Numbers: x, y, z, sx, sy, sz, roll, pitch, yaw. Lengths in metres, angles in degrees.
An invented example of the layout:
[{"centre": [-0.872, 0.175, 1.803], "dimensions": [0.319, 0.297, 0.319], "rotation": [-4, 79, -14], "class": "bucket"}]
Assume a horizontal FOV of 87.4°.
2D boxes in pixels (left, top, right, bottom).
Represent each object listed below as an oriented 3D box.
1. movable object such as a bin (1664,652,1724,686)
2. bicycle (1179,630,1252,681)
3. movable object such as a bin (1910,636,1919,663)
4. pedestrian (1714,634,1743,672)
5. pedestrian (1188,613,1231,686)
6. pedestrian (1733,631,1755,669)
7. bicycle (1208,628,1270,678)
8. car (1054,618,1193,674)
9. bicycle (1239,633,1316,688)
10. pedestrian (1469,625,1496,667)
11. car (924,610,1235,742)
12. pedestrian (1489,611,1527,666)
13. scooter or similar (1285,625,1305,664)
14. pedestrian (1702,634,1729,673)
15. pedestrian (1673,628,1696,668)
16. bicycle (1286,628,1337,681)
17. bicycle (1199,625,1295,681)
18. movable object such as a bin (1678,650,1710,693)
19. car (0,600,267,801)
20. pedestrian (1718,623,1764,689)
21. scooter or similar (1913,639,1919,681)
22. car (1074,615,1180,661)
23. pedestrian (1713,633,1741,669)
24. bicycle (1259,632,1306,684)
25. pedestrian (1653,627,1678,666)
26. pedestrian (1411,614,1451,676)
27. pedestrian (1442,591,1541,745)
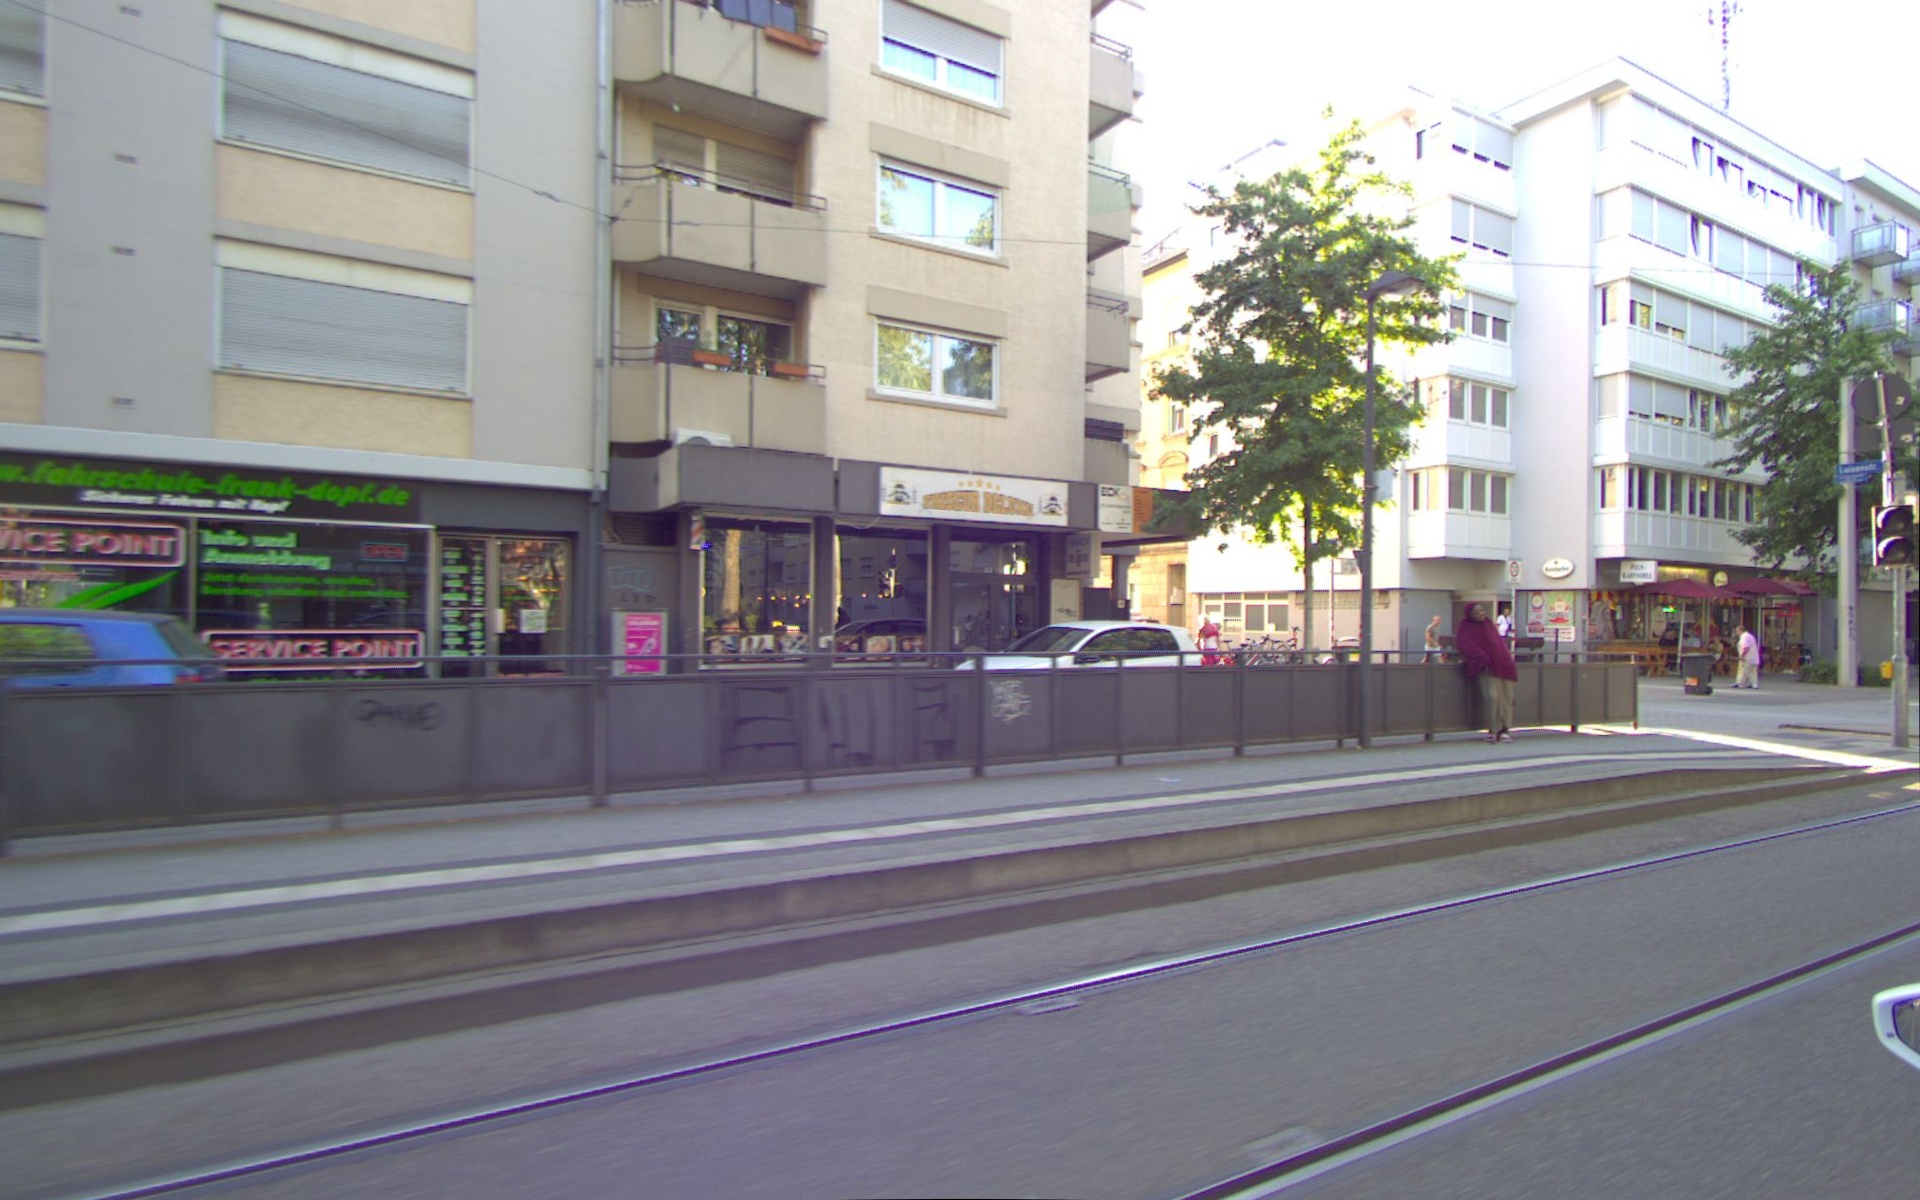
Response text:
[{"centre": [18.601, 1.747, 25.459], "dimensions": [1.178, 0.767, 0.663], "rotation": [1, 0, 39], "class": "movable object such as a bin"}, {"centre": [6.197, 1.332, 24.411], "dimensions": [0.567, 1.172, 1.771], "rotation": [1, -1, -36], "class": "bicycle"}, {"centre": [38.549, 1.975, 40.141], "dimensions": [0.614, 1.069, 0.675], "rotation": [1, -1, -28], "class": "movable object such as a bin"}, {"centre": [24.810, 1.707, 32.433], "dimensions": [0.591, 1.214, 0.691], "rotation": [0, -1, 25], "class": "pedestrian"}, {"centre": [5.529, 1.094, 22.256], "dimensions": [0.712, 1.577, 0.726], "rotation": [1, -1, -7], "class": "pedestrian"}, {"centre": [25.589, 1.613, 32.798], "dimensions": [0.504, 1.214, 0.562], "rotation": [0, -1, 31], "class": "pedestrian"}, {"centre": [6.836, 1.283, 24.721], "dimensions": [0.563, 1.172, 1.782], "rotation": [1, -1, -19], "class": "bicycle"}, {"centre": [4.782, 1.308, 29.921], "dimensions": [1.872, 1.524, 4.262], "rotation": [1, -1, -29], "class": "car"}, {"centre": [7.207, 1.357, 22.888], "dimensions": [0.564, 1.172, 1.853], "rotation": [1, -1, -25], "class": "bicycle"}, {"centre": [16.017, 1.392, 30.804], "dimensions": [0.735, 1.258, 0.768], "rotation": [0, -1, 26], "class": "pedestrian"}, {"centre": [1.793, 1.026, 14.684], "dimensions": [4.309, 1.673, 1.868], "rotation": [1, -2, -31], "class": "car"}, {"centre": [16.993, 1.193, 31.151], "dimensions": [0.756, 1.681, 0.747], "rotation": [1, -1, -15], "class": "pedestrian"}, {"centre": [11.202, 1.486, 33.590], "dimensions": [0.489, 1.276, 1.306], "rotation": [0, -1, 24], "class": "scooter or similar"}, {"centre": [23.736, 1.676, 31.560], "dimensions": [0.557, 1.214, 0.509], "rotation": [1, -1, -28], "class": "pedestrian"}, {"centre": [22.240, 1.454, 30.825], "dimensions": [0.506, 1.214, 0.560], "rotation": [-1, -1, 44], "class": "pedestrian"}, {"centre": [8.094, 1.234, 23.198], "dimensions": [0.561, 1.172, 1.790], "rotation": [1, -1, 1], "class": "bicycle"}, {"centre": [6.420, 1.164, 22.517], "dimensions": [2.006, 1.172, 0.570], "rotation": [0, -1, 38], "class": "bicycle"}, {"centre": [16.756, 1.618, 22.930], "dimensions": [0.533, 0.944, 0.646], "rotation": [-1, -1, 43], "class": "movable object such as a bin"}, {"centre": [-8.511, 0.799, 8.352], "dimensions": [4.337, 1.564, 1.947], "rotation": [1, -2, -30], "class": "car"}, {"centre": [19.320, 1.369, 24.859], "dimensions": [0.761, 1.577, 0.720], "rotation": [1, -1, -36], "class": "pedestrian"}, {"centre": [28.044, 1.736, 28.696], "dimensions": [0.492, 1.192, 1.074], "rotation": [2, 0, -31], "class": "scooter or similar"}, {"centre": [6.191, 1.383, 37.693], "dimensions": [1.868, 1.602, 3.969], "rotation": [1, -1, -30], "class": "car"}, {"centre": [26.245, 1.729, 34.372], "dimensions": [0.617, 1.214, 0.559], "rotation": [1, -1, -31], "class": "pedestrian"}, {"centre": [7.656, 1.364, 23.898], "dimensions": [0.561, 1.172, 1.790], "rotation": [1, -1, 1], "class": "bicycle"}, {"centre": [22.193, 1.468, 31.614], "dimensions": [0.553, 1.214, 0.513], "rotation": [0, -1, 25], "class": "pedestrian"}, {"centre": [13.205, 1.253, 28.164], "dimensions": [0.761, 1.693, 0.752], "rotation": [1, -1, -36], "class": "pedestrian"}, {"centre": [5.795, 0.718, 10.965], "dimensions": [0.763, 1.606, 0.651], "rotation": [1, -1, -30], "class": "pedestrian"}]
